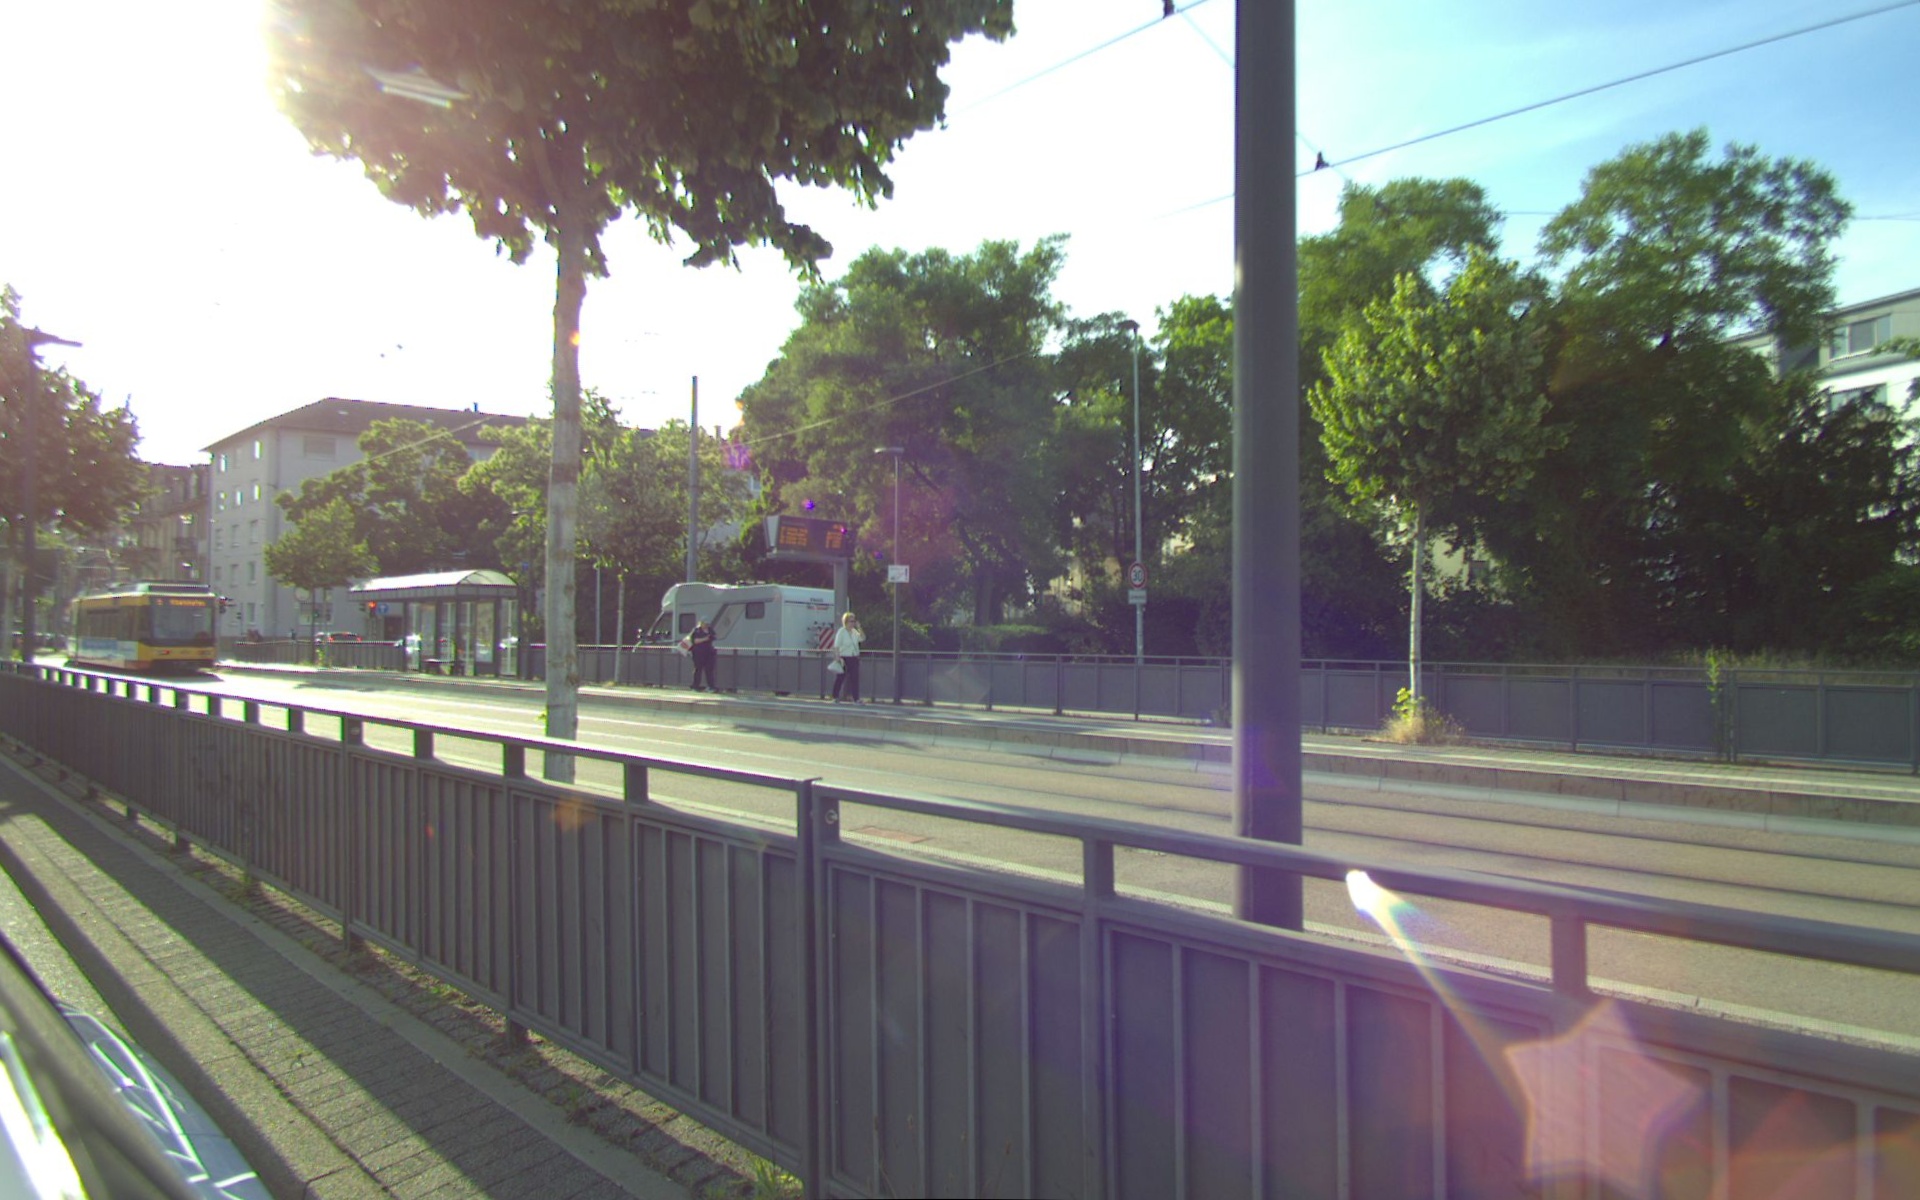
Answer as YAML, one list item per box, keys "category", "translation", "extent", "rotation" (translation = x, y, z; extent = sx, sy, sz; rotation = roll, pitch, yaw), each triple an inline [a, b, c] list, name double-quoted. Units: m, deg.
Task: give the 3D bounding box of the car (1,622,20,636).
- category: "car"
  translation: [-141.705, 4.313, 150.996]
  extent: [4.002, 2.029, 1.971]
  rotation: [-2, -2, 45]

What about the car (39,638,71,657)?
- category: "car"
  translation: [-95.425, 4.959, 106.642]
  extent: [4.611, 1.915, 2.141]
  rotation: [-2, -2, 44]

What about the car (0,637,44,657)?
- category: "car"
  translation: [-68.934, 3.376, 72.974]
  extent: [3.888, 1.370, 1.677]
  rotation: [1, -2, -12]

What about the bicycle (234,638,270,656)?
- category: "bicycle"
  translation: [-46.628, 3.095, 66.666]
  extent: [1.883, 1.119, 0.737]
  rotation: [1, -2, -28]

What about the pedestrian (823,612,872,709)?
- category: "pedestrian"
  translation: [-1.982, 1.061, 17.817]
  extent: [0.606, 1.654, 0.576]
  rotation: [-2, -5, 36]

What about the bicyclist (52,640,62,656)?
- category: "bicyclist"
  translation: [-81.440, 4.357, 91.230]
  extent: [0.643, 1.424, 0.717]
  rotation: [1, -3, -44]

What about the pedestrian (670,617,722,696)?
- category: "pedestrian"
  translation: [-5.639, 1.193, 21.606]
  extent: [0.859, 1.654, 0.660]
  rotation: [-2, -2, 24]

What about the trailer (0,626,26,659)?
- category: "trailer"
  translation: [-71.784, 3.158, 75.300]
  extent: [2.817, 2.410, 1.728]
  rotation: [0, -2, -17]

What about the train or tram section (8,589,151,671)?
- category: "train or tram section"
  translation: [-43.037, 1.511, 49.177]
  extent: [14.521, 3.506, 3.129]
  rotation: [-2, -2, 40]

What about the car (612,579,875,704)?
- category: "car"
  translation: [-5.695, 1.031, 25.708]
  extent: [7.464, 2.756, 2.569]
  rotation: [-2, -2, 41]

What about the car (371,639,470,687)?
- category: "car"
  translation: [-20.388, 2.344, 38.191]
  extent: [3.996, 1.697, 1.973]
  rotation: [-2, -2, 40]

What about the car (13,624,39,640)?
- category: "car"
  translation: [-119.794, 4.092, 129.787]
  extent: [3.998, 2.029, 1.972]
  rotation: [-2, -2, 42]

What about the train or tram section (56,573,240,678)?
- category: "train or tram section"
  translation: [-32.173, 1.086, 39.707]
  extent: [14.463, 3.506, 3.129]
  rotation: [-2, -2, 41]
